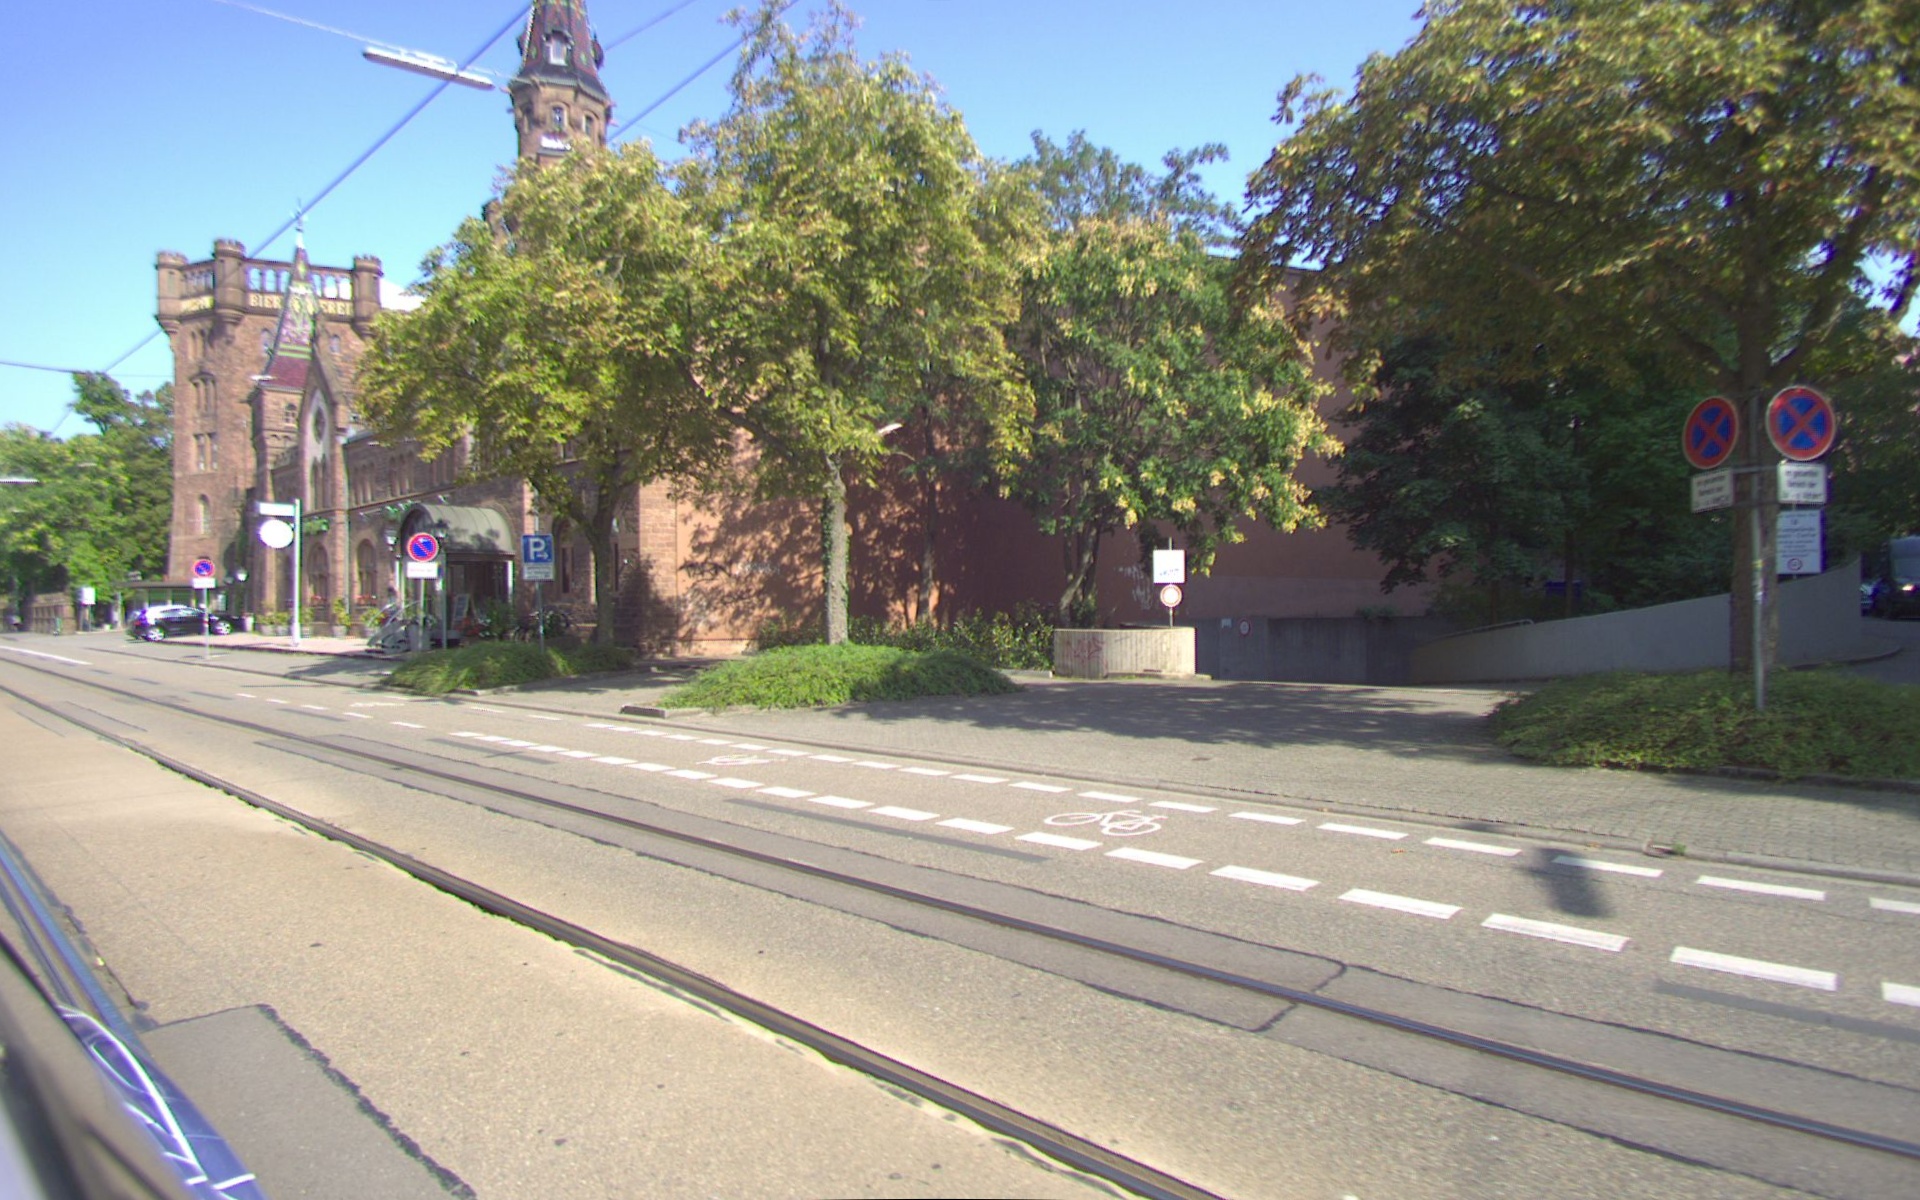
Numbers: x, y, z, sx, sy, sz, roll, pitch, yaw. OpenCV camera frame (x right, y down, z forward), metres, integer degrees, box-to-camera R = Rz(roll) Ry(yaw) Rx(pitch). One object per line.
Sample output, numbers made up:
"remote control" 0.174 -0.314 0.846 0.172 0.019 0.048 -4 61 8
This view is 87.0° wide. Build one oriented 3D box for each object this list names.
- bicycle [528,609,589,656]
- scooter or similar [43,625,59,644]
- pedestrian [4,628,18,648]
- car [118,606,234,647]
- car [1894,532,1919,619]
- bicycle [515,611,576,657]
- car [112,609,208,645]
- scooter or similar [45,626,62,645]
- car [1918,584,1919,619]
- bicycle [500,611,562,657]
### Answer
"bicycle" -10.849 0.858 27.431 0.418 1.082 1.797 -1 4 19
"scooter or similar" -61.045 2.311 67.978 0.280 1.157 0.816 -1 2 5
"pedestrian" -76.120 3.041 81.183 0.775 1.601 0.708 -1 -1 41
"car" -39.966 1.322 51.660 1.957 1.657 4.351 -2 3 43
"car" 31.205 -0.756 32.135 2.020 2.616 5.140 -1 -1 40
"bicycle" -11.280 0.907 27.596 0.418 1.082 1.797 -1 4 19
"car" -44.072 1.489 55.809 1.823 1.607 3.857 -2 3 44
"scooter or similar" -60.087 2.345 67.102 0.280 1.157 0.816 -1 2 5
"car" 44.207 0.025 43.451 1.703 1.539 4.145 1 -2 -30
"bicycle" -11.725 0.914 27.738 0.418 1.082 1.797 -1 4 19
